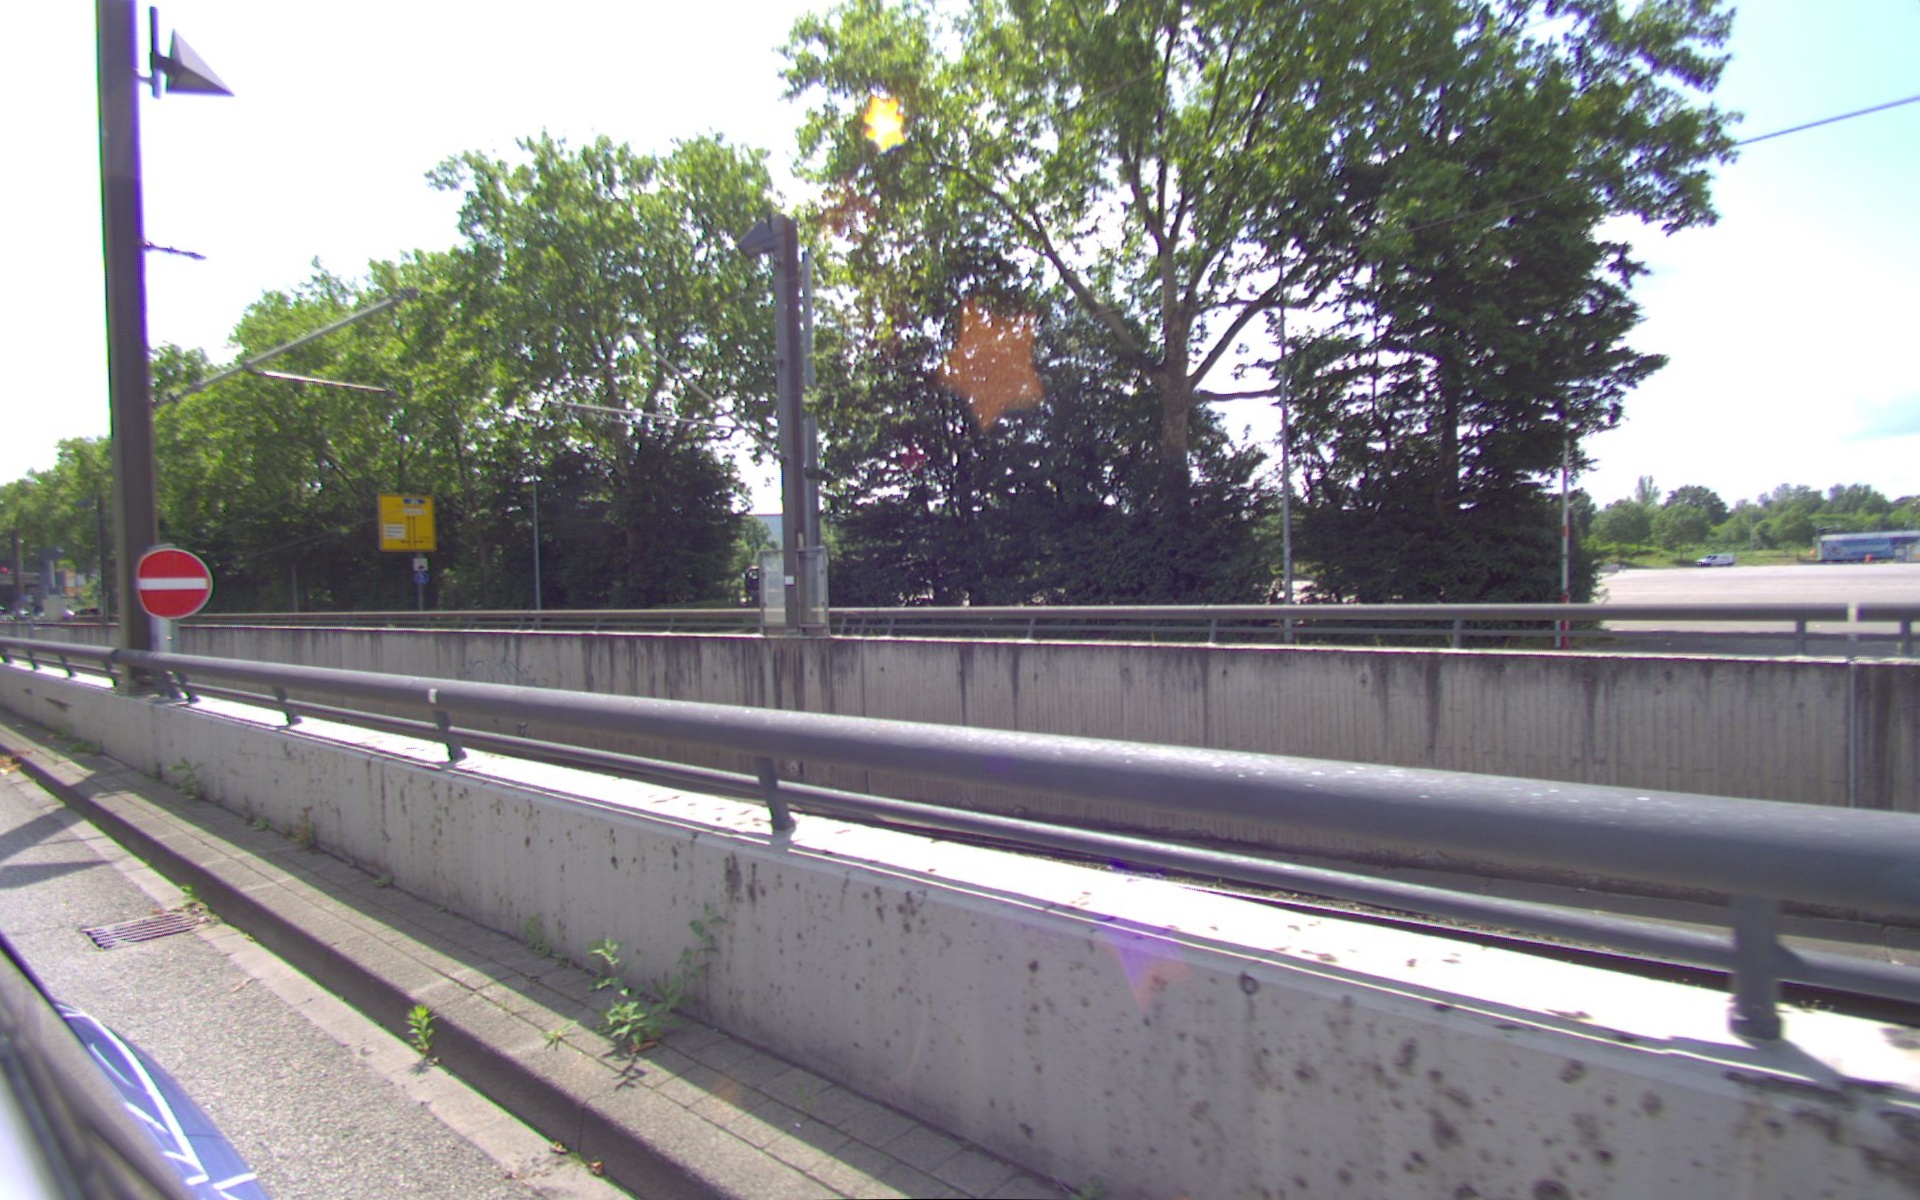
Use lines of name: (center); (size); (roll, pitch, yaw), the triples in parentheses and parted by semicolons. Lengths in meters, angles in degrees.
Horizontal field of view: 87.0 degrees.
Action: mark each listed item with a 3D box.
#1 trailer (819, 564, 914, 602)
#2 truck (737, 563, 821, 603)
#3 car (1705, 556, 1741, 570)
trailer: (-8.969, -1.650, 96.682); (8.750, 3.524, 2.874); (-1, 0, -10)
truck: (-17.027, -1.597, 95.269); (7.601, 3.689, 3.066); (-1, 0, -10)
car: (118.571, -5.797, 157.374); (3.949, 2.029, 1.998); (-1, 0, 4)
